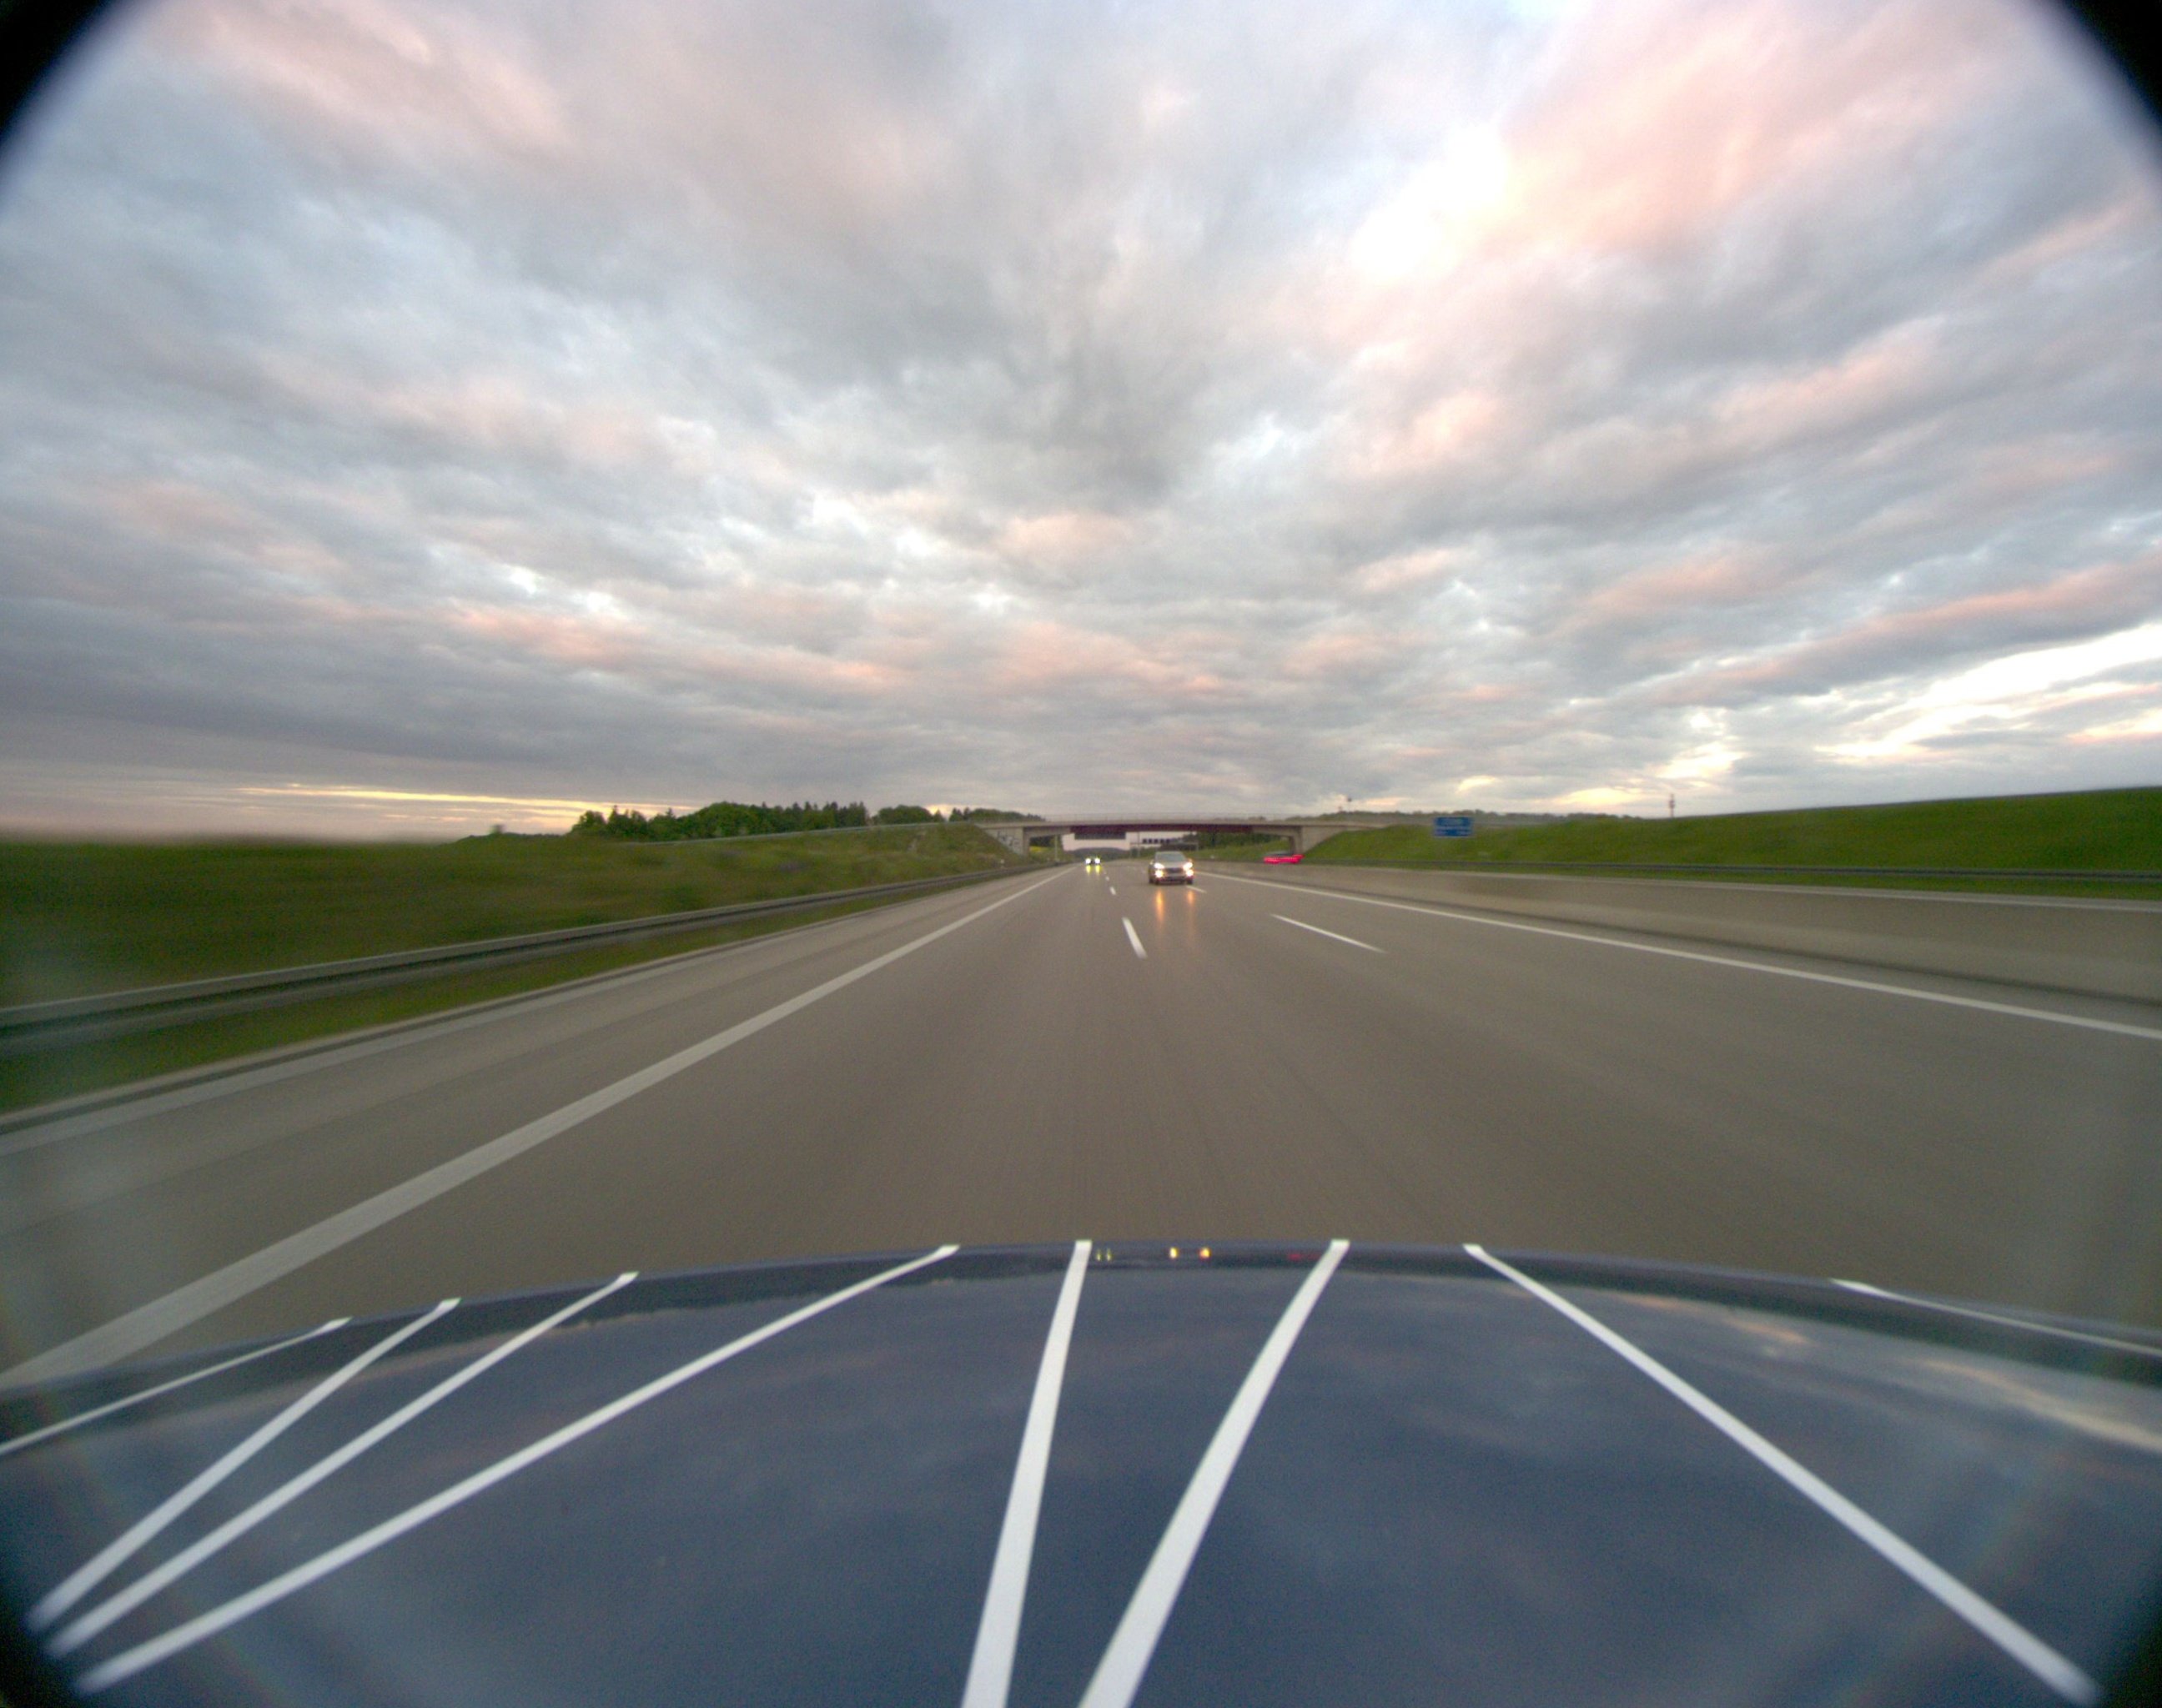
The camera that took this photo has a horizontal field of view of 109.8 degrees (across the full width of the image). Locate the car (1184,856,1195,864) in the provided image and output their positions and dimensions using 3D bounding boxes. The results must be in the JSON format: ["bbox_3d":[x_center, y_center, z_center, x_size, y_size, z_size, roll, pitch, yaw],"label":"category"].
[{"bbox_3d":[23.854,1.396,166.863,1.829,1.653,4.651,-2,0,0],"label":"car"}]

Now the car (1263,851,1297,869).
[{"bbox_3d":[16.196,0.468,62.049,1.815,1.427,4.672,-1,0,3],"label":"car"}]

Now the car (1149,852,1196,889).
[{"bbox_3d":[4.615,0.777,38.962,1.857,1.683,5.512,-1,0,1],"label":"car"}]

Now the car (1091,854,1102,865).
[{"bbox_3d":[2.521,0.822,123.856,1.801,1.674,4.385,-1,1,1],"label":"car"}]
